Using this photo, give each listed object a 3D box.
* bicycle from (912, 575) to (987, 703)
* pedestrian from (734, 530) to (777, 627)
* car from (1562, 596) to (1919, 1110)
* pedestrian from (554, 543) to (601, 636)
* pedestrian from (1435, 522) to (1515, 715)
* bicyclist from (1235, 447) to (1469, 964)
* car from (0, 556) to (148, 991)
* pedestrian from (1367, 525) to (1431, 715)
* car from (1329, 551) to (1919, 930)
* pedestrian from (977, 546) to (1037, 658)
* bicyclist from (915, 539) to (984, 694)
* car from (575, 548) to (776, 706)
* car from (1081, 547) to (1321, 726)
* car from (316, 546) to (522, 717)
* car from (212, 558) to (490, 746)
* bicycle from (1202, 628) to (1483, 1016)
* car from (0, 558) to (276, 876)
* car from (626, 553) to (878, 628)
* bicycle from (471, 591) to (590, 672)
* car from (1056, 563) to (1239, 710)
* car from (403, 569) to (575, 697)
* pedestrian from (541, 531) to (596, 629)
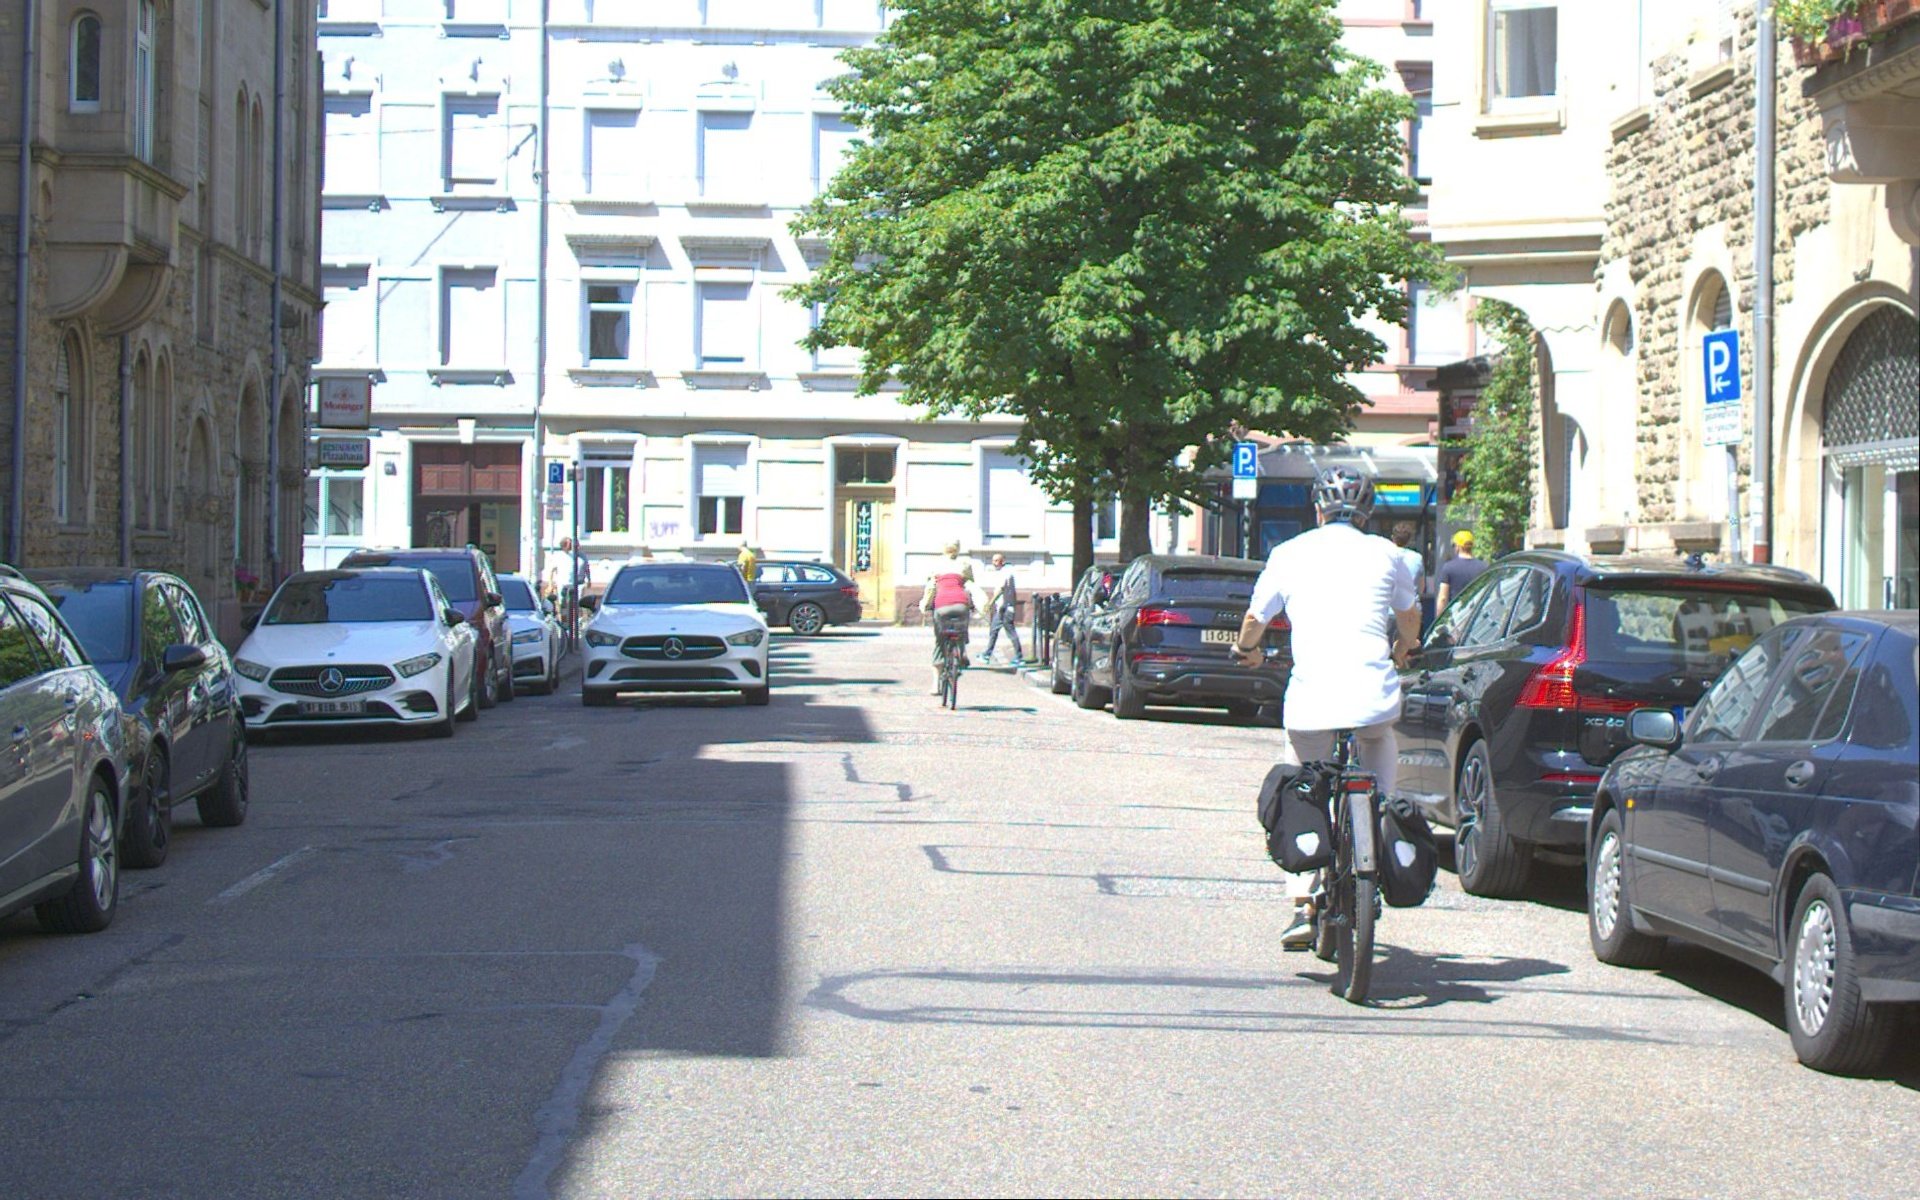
[{"bbox_3d":[-0.116,0.369,34.159,0.652,1.205,2.441,2,0,-1],"label":"bicycle"},{"bbox_3d":[-3.938,-0.415,66.193,0.724,1.847,0.685,0,0,-12],"label":"pedestrian"},{"bbox_3d":[3.303,0.758,11.537,1.512,1.394,3.973,5,0,-4],"label":"car"},{"bbox_3d":[-7.568,-0.209,67.970,0.901,1.808,0.960,0,0,-7],"label":"pedestrian"},{"bbox_3d":[5.087,0.177,33.993,0.599,1.873,0.883,1,0,-2],"label":"pedestrian"},{"bbox_3d":[1.376,0.362,12.148,0.670,1.754,0.609,2,0,-1],"label":"bicyclist"},{"bbox_3d":[-4.199,0.621,12.269,1.656,1.513,4.672,-1,0,-3],"label":"car"},{"bbox_3d":[4.357,0.197,34.144,0.518,1.862,0.653,1,0,-1],"label":"pedestrian"},{"bbox_3d":[3.173,0.593,17.205,1.833,1.561,4.606,3,0,-3],"label":"car"},{"bbox_3d":[0.695,0.032,51.461,0.857,1.666,0.774,0,0,-2],"label":"pedestrian"},{"bbox_3d":[-0.110,0.162,34.126,0.670,1.528,0.609,0,0,-1],"label":"bicyclist"},{"bbox_3d":[-2.819,0.243,34.857,1.841,1.456,4.363,-1,0,-3],"label":"car"},{"bbox_3d":[2.334,0.326,34.358,1.735,1.591,4.348,3,0,-4],"label":"car"},{"bbox_3d":[-5.384,0.289,34.598,1.672,1.577,4.053,-1,0,-4],"label":"car"},{"bbox_3d":[-5.141,0.401,29.532,1.776,1.455,4.279,-1,0,-3],"label":"car"},{"bbox_3d":[1.348,0.744,12.565,0.652,1.224,2.441,2,0,-1],"label":"bicycle"},{"bbox_3d":[-4.728,0.554,18.187,1.567,1.486,3.894,-1,0,-3],"label":"car"},{"bbox_3d":[-4.060,-0.184,67.544,4.859,1.432,2.000,0,0,-2],"label":"car"},{"bbox_3d":[-5.779,0.424,46.286,1.524,1.004,0.367,3,0,-6],"label":"bicycle"},{"bbox_3d":[2.115,0.388,39.770,1.663,1.535,4.178,3,0,-2],"label":"car"},{"bbox_3d":[-5.381,0.353,39.723,1.701,1.348,4.516,-1,0,-5],"label":"car"},{"bbox_3d":[-7.586,-0.391,66.585,0.850,1.882,0.935,0,0,8],"label":"pedestrian"}]
